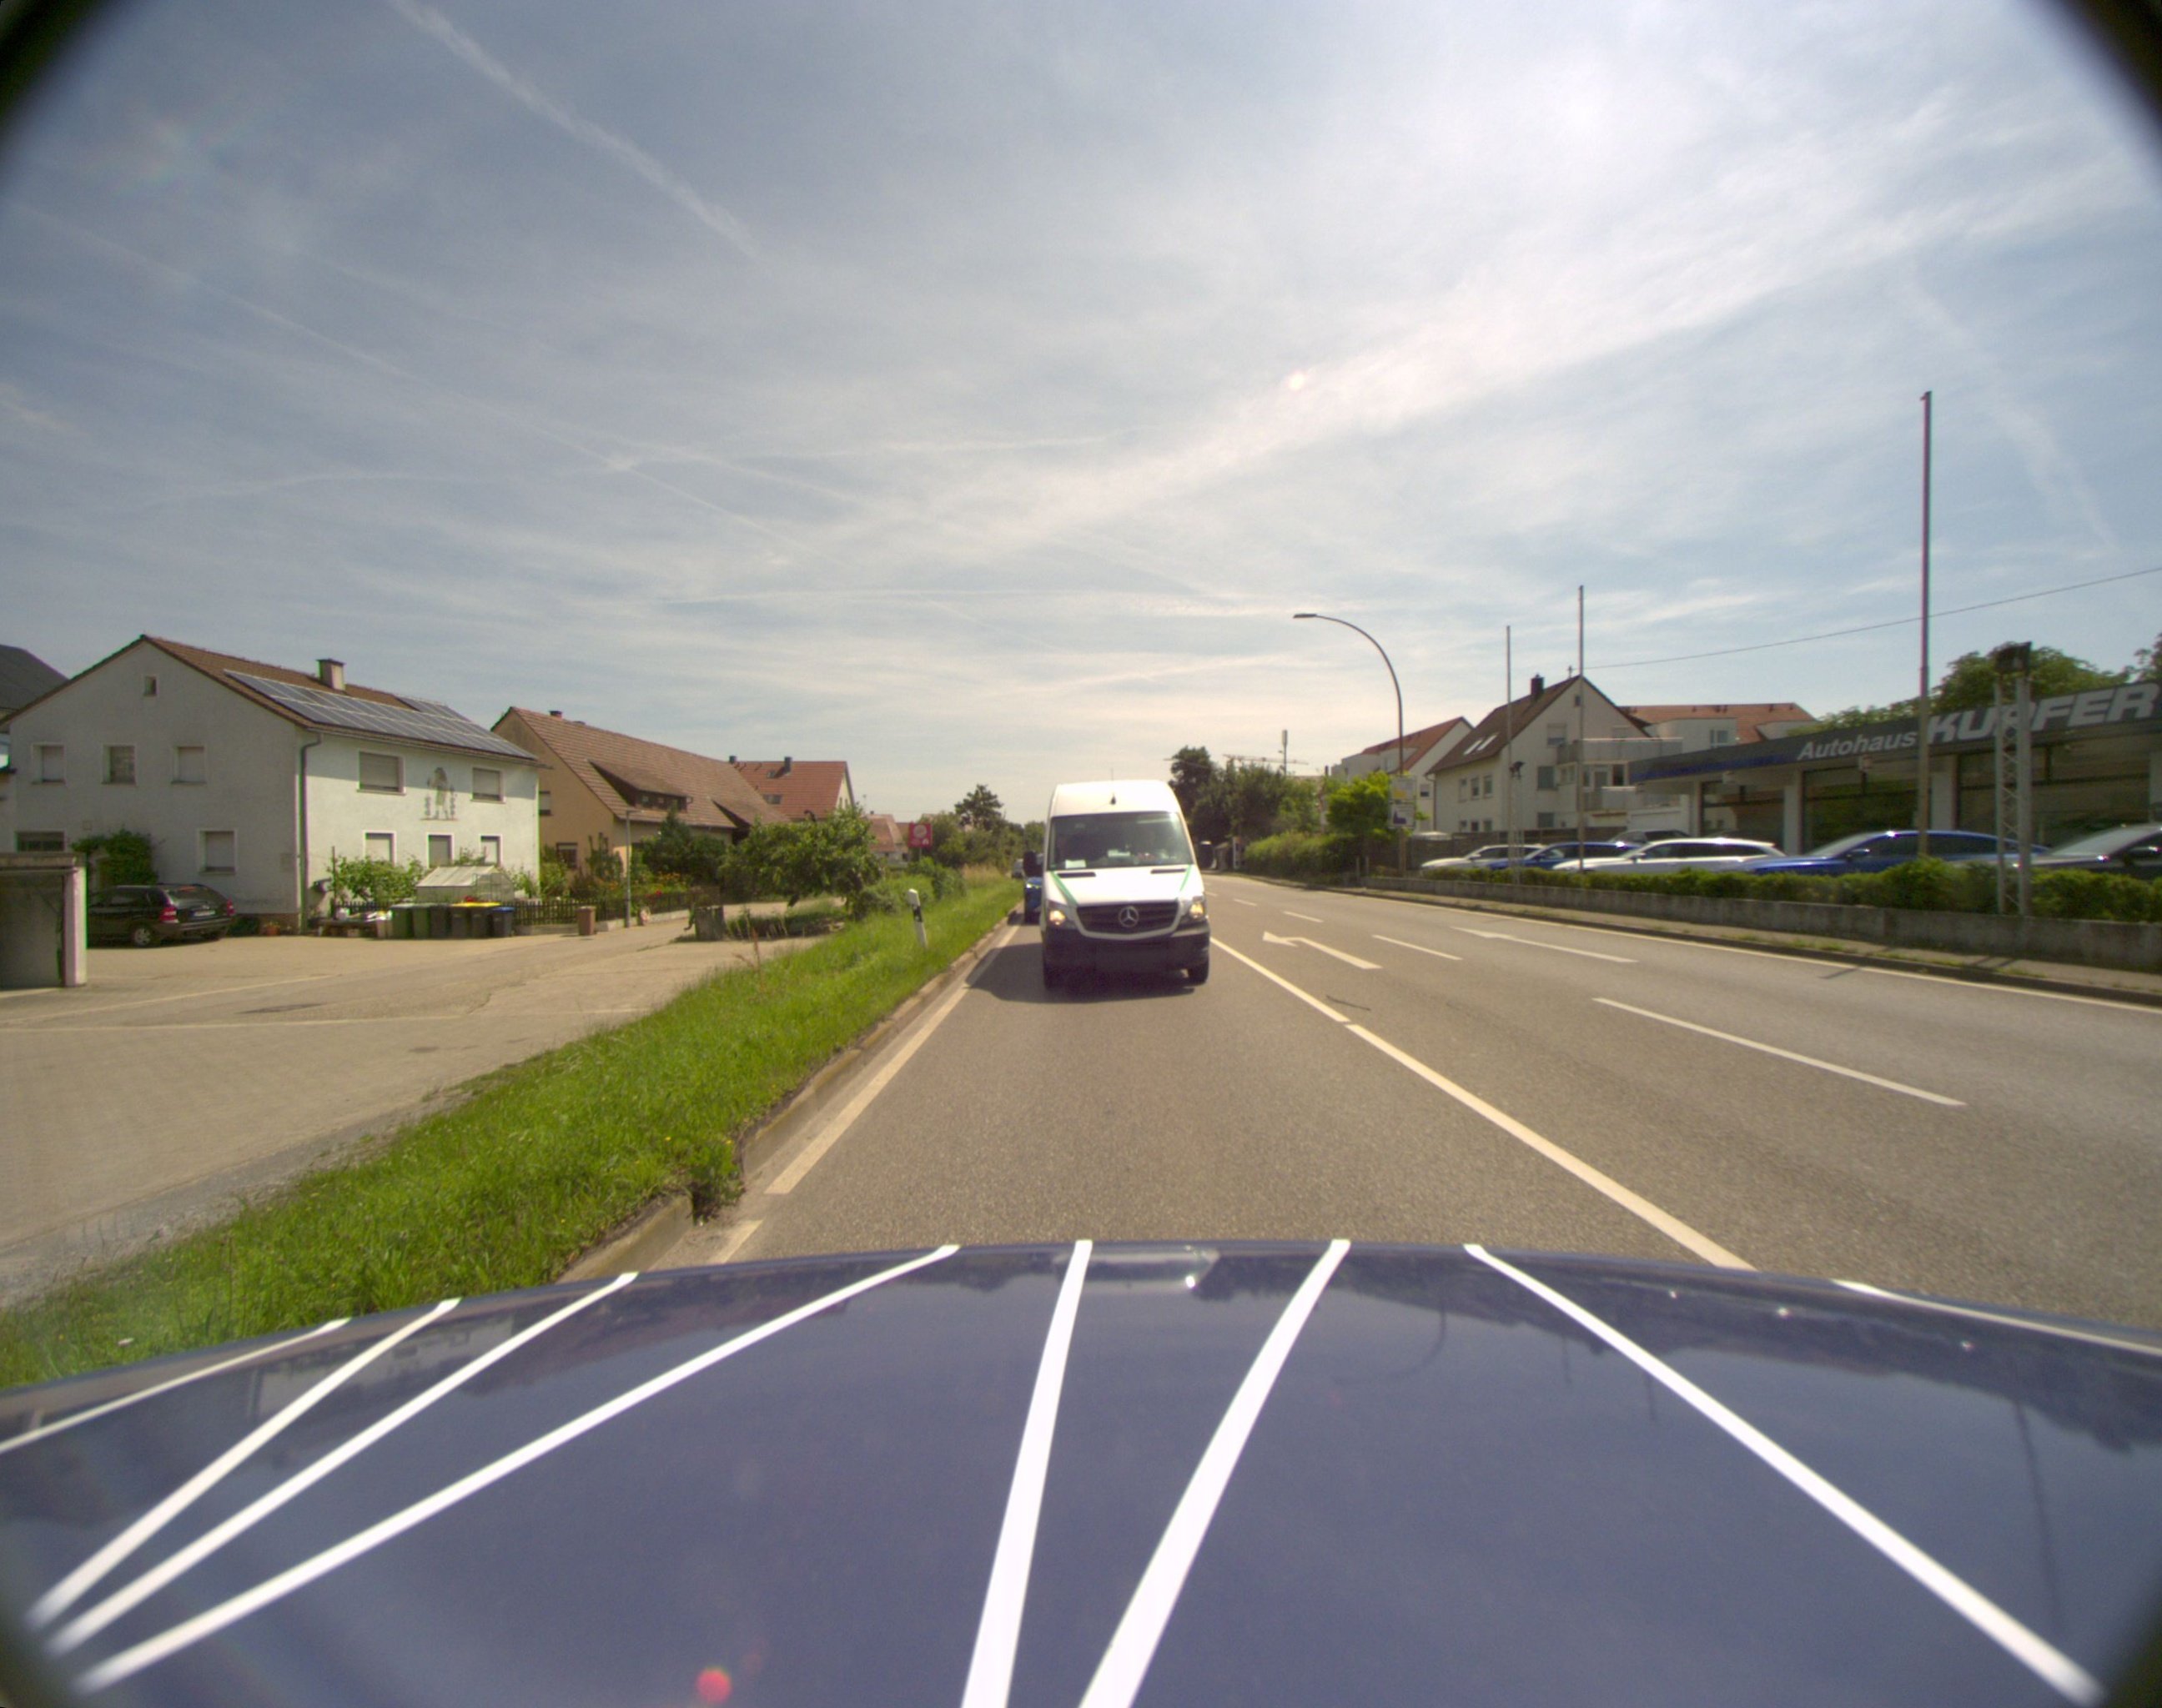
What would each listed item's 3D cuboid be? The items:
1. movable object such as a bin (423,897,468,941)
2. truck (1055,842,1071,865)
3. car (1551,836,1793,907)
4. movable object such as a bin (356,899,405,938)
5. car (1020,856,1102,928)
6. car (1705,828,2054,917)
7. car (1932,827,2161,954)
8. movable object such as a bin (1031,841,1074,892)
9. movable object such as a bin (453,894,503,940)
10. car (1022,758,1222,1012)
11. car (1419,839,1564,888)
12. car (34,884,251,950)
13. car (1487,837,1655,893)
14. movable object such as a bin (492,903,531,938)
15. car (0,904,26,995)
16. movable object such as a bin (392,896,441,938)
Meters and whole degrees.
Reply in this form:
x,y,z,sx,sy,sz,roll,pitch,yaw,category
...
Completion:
x,y,z,sx,sy,sz,roll,pitch,yaw,category
-20.570,2.101,24.599,0.678,1.330,0.820,-3,0,1,movable object such as a bin
-3.218,-0.041,134.883,2.506,3.848,5.496,-2,0,-1,truck
13.940,0.433,18.314,4.303,1.510,2.003,-2,0,28,car
-22.460,2.068,24.362,0.740,1.149,0.830,-3,0,0,movable object such as a bin
-0.425,0.870,19.157,1.824,1.574,3.902,-1,0,1,car
14.255,0.357,13.938,3.990,1.433,1.857,-2,0,26,car
14.516,0.417,9.832,4.250,1.536,1.853,-2,0,24,car
-1.588,0.685,44.699,1.998,2.710,5.420,-2,0,3,movable object such as a bin
-19.241,1.984,24.264,0.765,1.362,0.946,-3,0,1,movable object such as a bin
0.469,0.329,10.778,1.977,2.584,5.634,-3,0,1,car
14.247,0.337,26.570,4.255,1.521,2.003,-2,0,27,car
-27.018,1.775,21.970,3.997,1.724,1.828,0,1,1,car
14.323,0.334,22.521,3.990,1.455,2.003,-2,0,27,car
-18.229,2.128,24.331,0.645,1.021,0.756,-3,0,0,movable object such as a bin
-21.237,1.773,12.964,3.996,1.594,1.826,-2,0,2,car
-21.492,2.024,24.595,0.745,1.239,0.889,-3,0,1,movable object such as a bin
